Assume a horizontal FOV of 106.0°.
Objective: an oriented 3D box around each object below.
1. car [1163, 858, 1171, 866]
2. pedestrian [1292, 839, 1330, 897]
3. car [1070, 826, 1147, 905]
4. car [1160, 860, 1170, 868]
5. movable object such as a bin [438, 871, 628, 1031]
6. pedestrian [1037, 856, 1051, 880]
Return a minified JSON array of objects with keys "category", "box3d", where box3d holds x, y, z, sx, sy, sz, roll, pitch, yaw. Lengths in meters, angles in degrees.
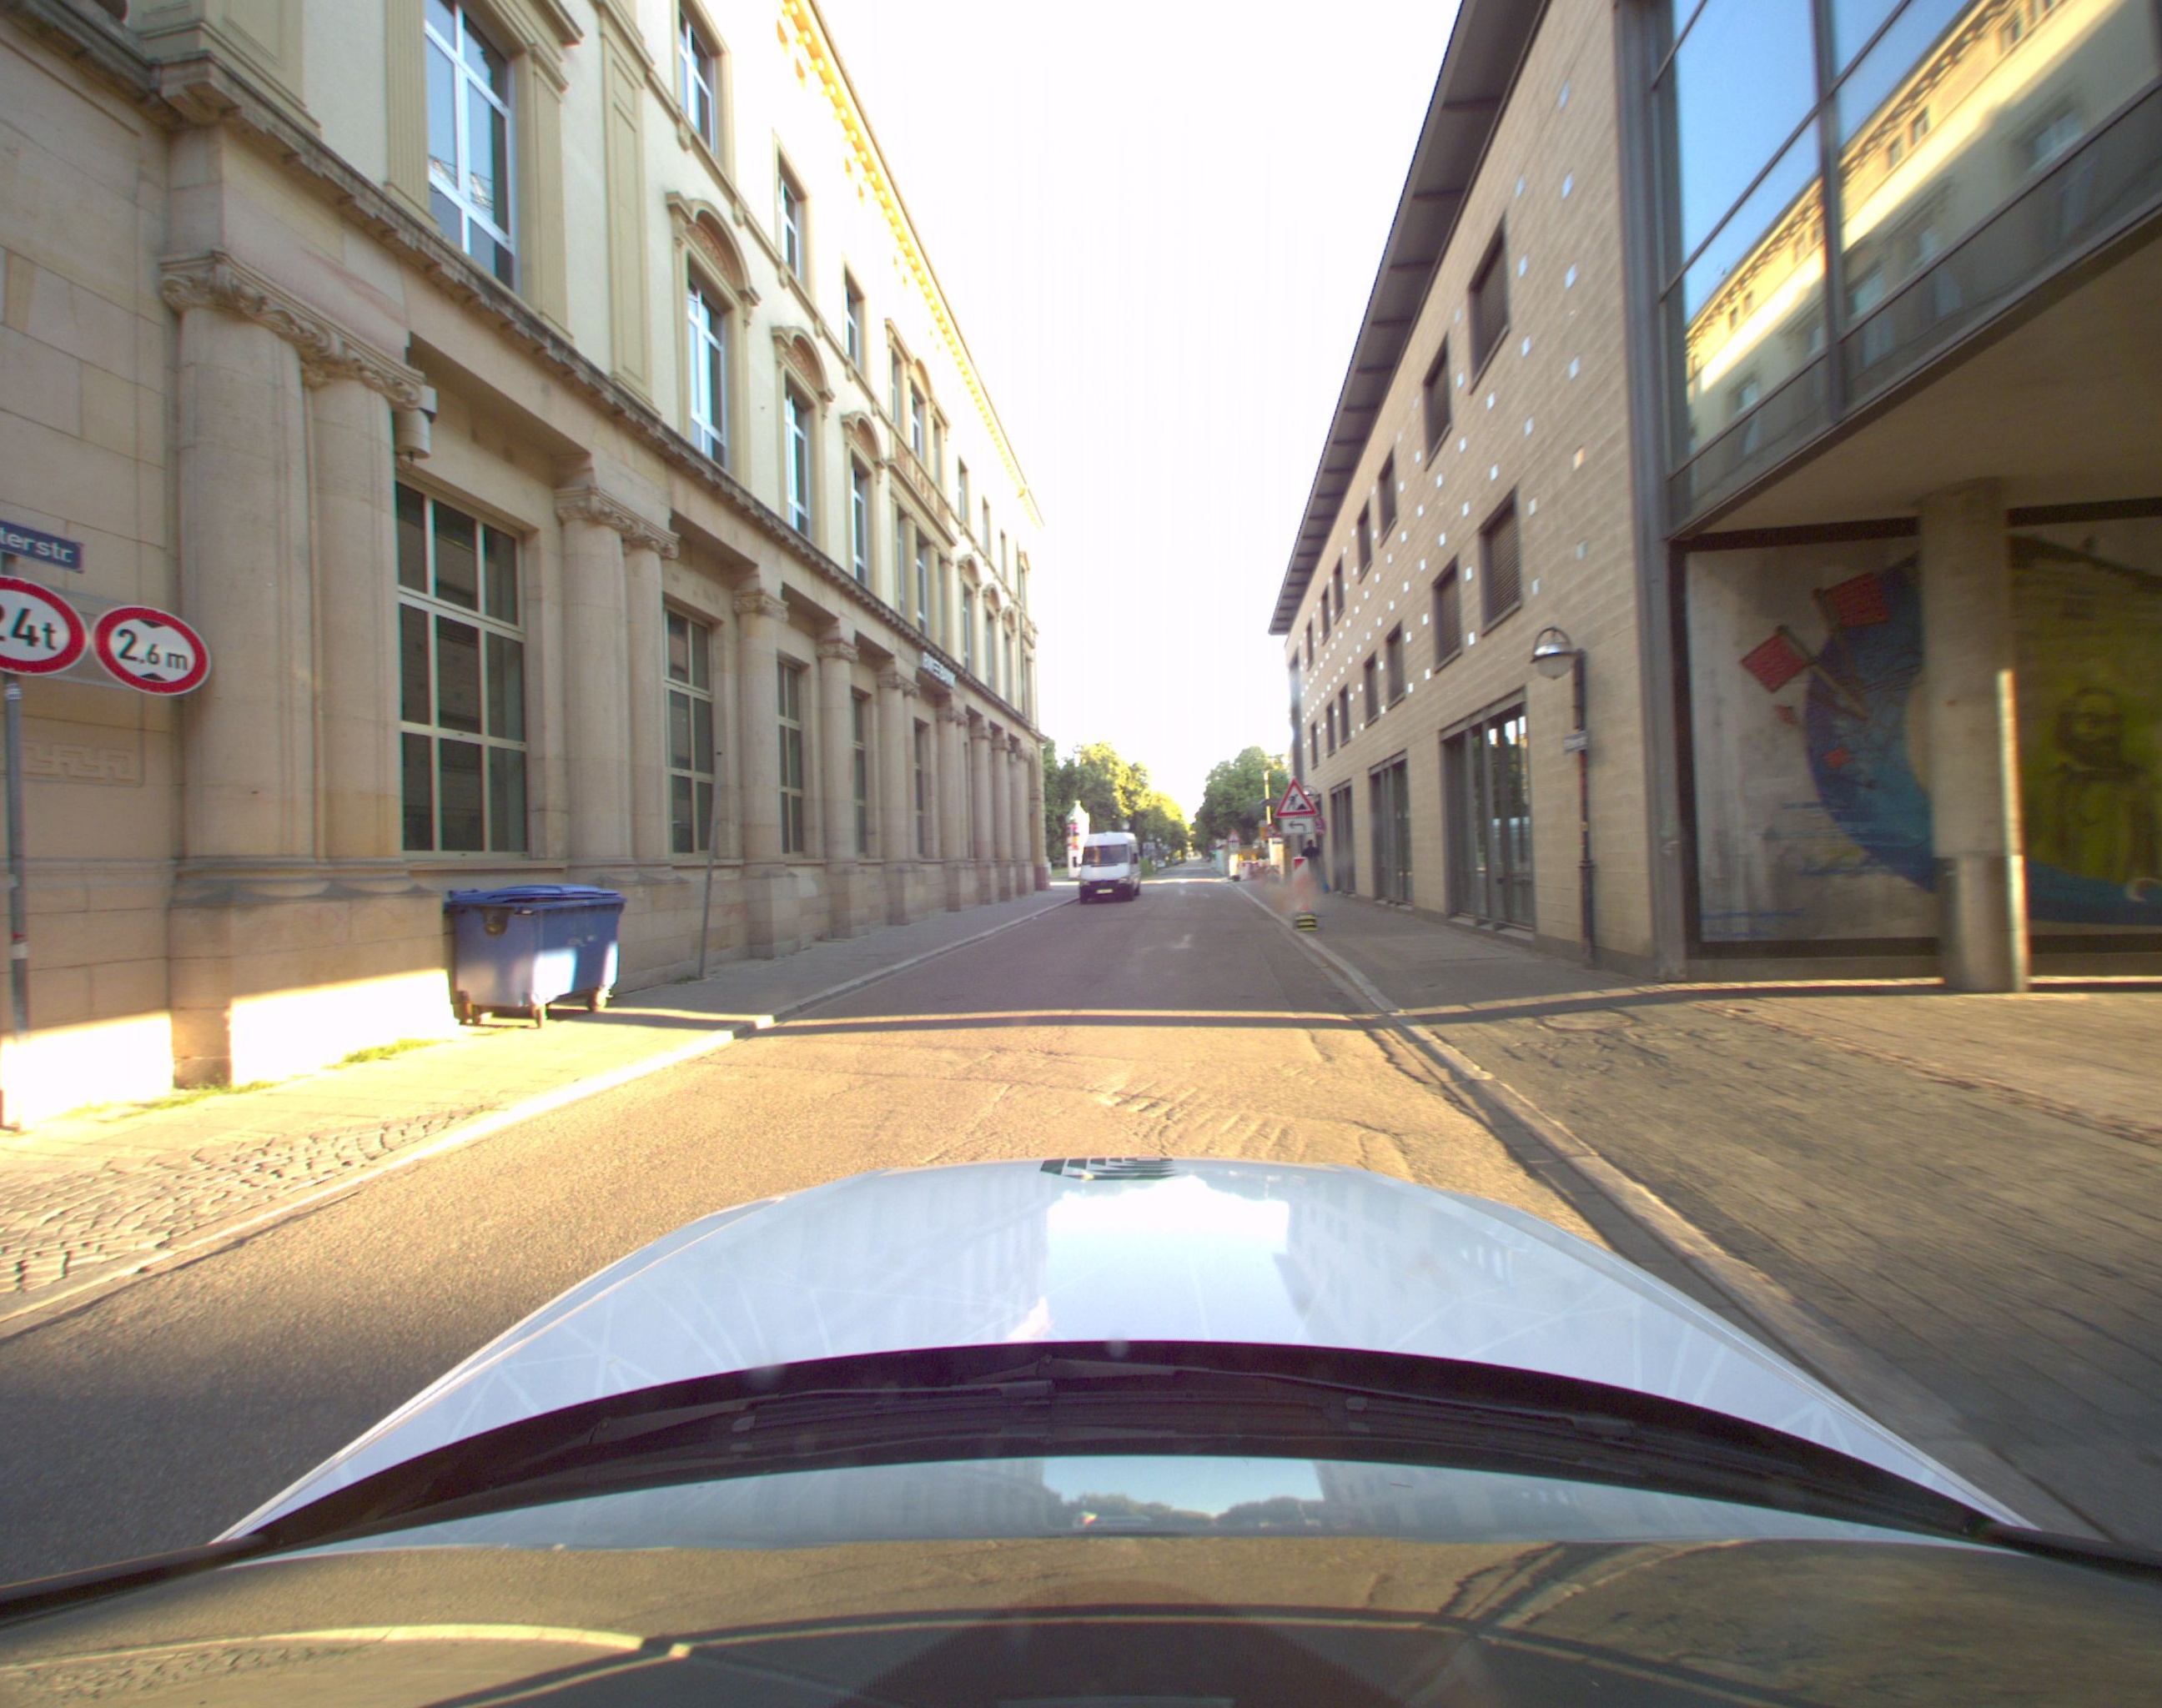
[{"category":"car","box3d":[16.875,1.562,160.371,1.460,1.404,3.686,-1,0,7]},{"category":"pedestrian","box3d":[7.030,0.429,24.962,0.918,1.702,0.870,-3,-1,7]},{"category":"car","box3d":[1.184,0.395,30.912,1.984,2.512,6.485,-6,-1,8]},{"category":"car","box3d":[13.896,1.633,134.564,1.460,1.256,3.686,-1,0,7]},{"category":"movable object such as a bin","box3d":[-5.537,0.927,8.309,1.067,1.475,1.191,-1,-1,11]},{"category":"pedestrian","box3d":[-2.697,1.005,59.237,0.741,1.702,0.705,-3,-1,14]}]
